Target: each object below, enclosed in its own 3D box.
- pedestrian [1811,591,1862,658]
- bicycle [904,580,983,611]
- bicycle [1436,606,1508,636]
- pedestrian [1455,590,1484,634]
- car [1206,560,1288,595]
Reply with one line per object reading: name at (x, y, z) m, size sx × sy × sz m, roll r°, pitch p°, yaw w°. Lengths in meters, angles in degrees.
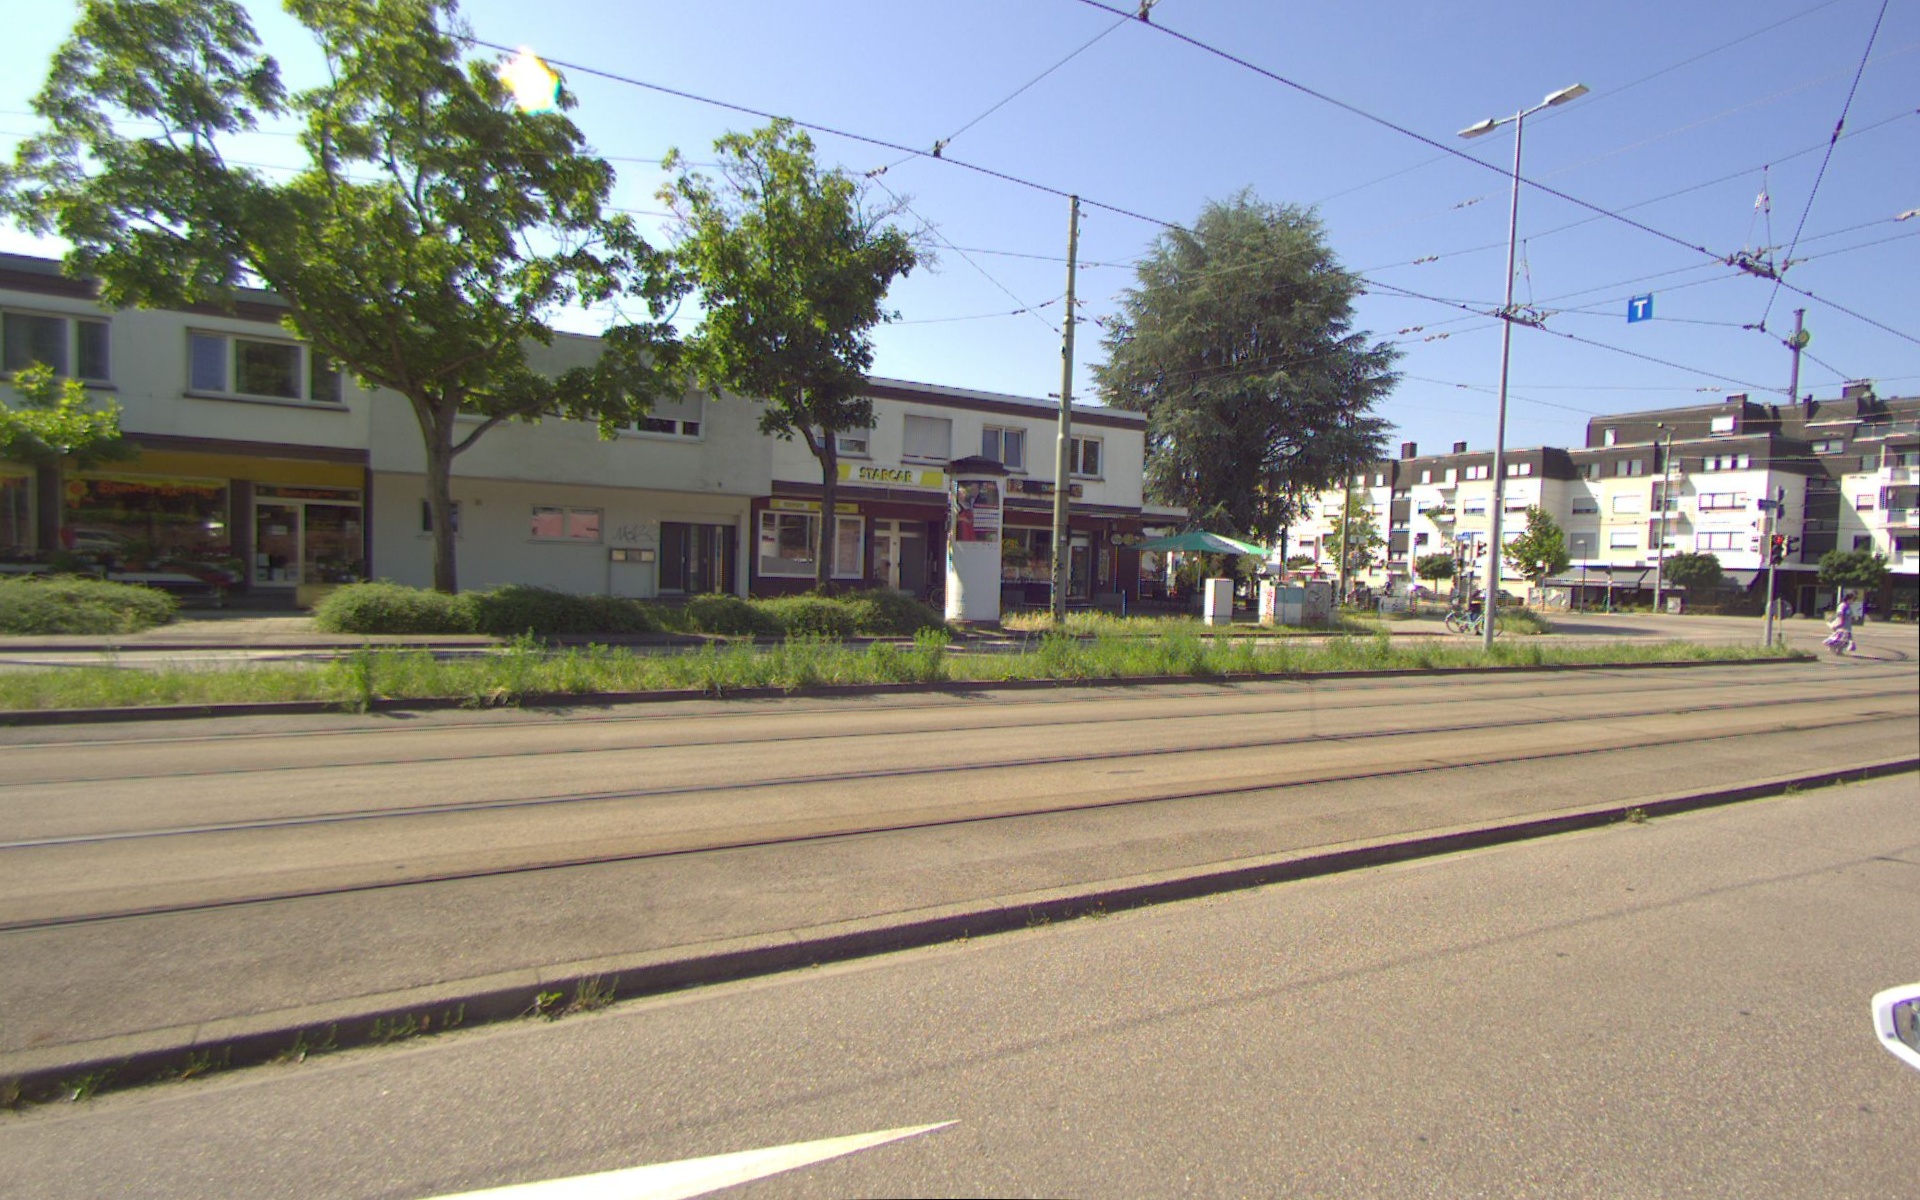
pedestrian at (23.782, 0.648, 27.250) m, size 0.923 × 1.762 × 0.820 m, roll 0°, pitch 2°, yaw -37°
bicycle at (-0.503, -0.126, 31.398) m, size 2.362 × 0.900 × 0.779 m, roll 1°, pitch 2°, yaw -30°
bicycle at (17.618, 0.710, 34.630) m, size 2.135 × 0.934 × 0.553 m, roll 2°, pitch 2°, yaw 22°
pedestrian at (17.775, 0.416, 35.024) m, size 0.800 × 1.507 × 0.566 m, roll 2°, pitch 2°, yaw 23°
car at (20.245, -1.614, 71.170) m, size 2.224 × 2.041 × 5.524 m, roll 1°, pitch 4°, yaw -31°
